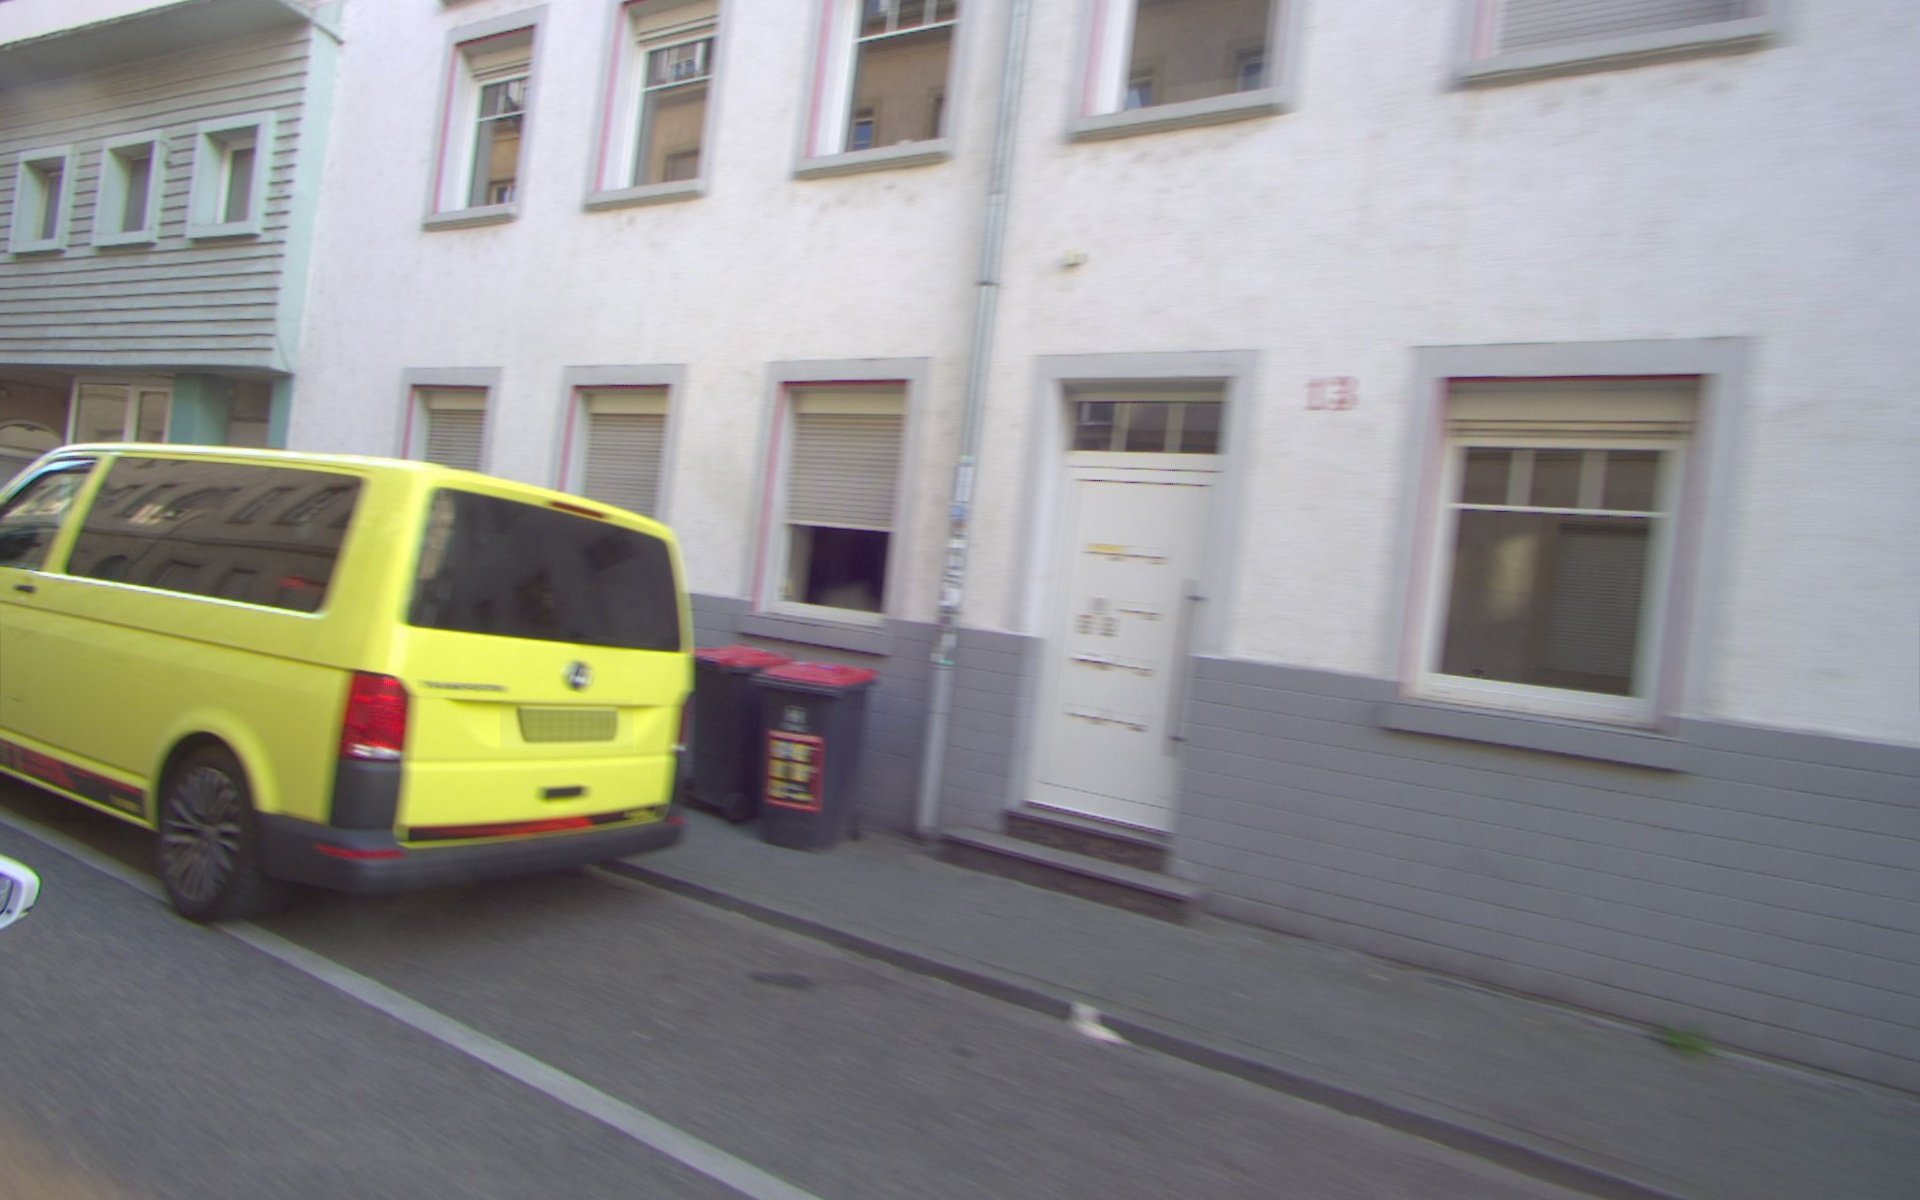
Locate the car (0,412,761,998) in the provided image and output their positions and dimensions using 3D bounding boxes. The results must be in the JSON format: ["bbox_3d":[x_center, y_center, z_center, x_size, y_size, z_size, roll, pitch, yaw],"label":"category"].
[{"bbox_3d":[-3.636,0.215,5.289,4.760,1.903,1.889,7,-2,27],"label":"car"}]

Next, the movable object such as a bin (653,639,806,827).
[{"bbox_3d":[-1.513,0.841,6.623,0.696,1.066,0.606,7,4,26],"label":"movable object such as a bin"}]

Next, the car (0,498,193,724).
[{"bbox_3d":[-8.275,-0.139,7.745,4.290,1.506,1.890,7,-2,25],"label":"car"}]

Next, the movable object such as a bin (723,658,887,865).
[{"bbox_3d":[-0.935,0.942,6.128,0.695,1.066,0.627,7,4,23],"label":"movable object such as a bin"}]
